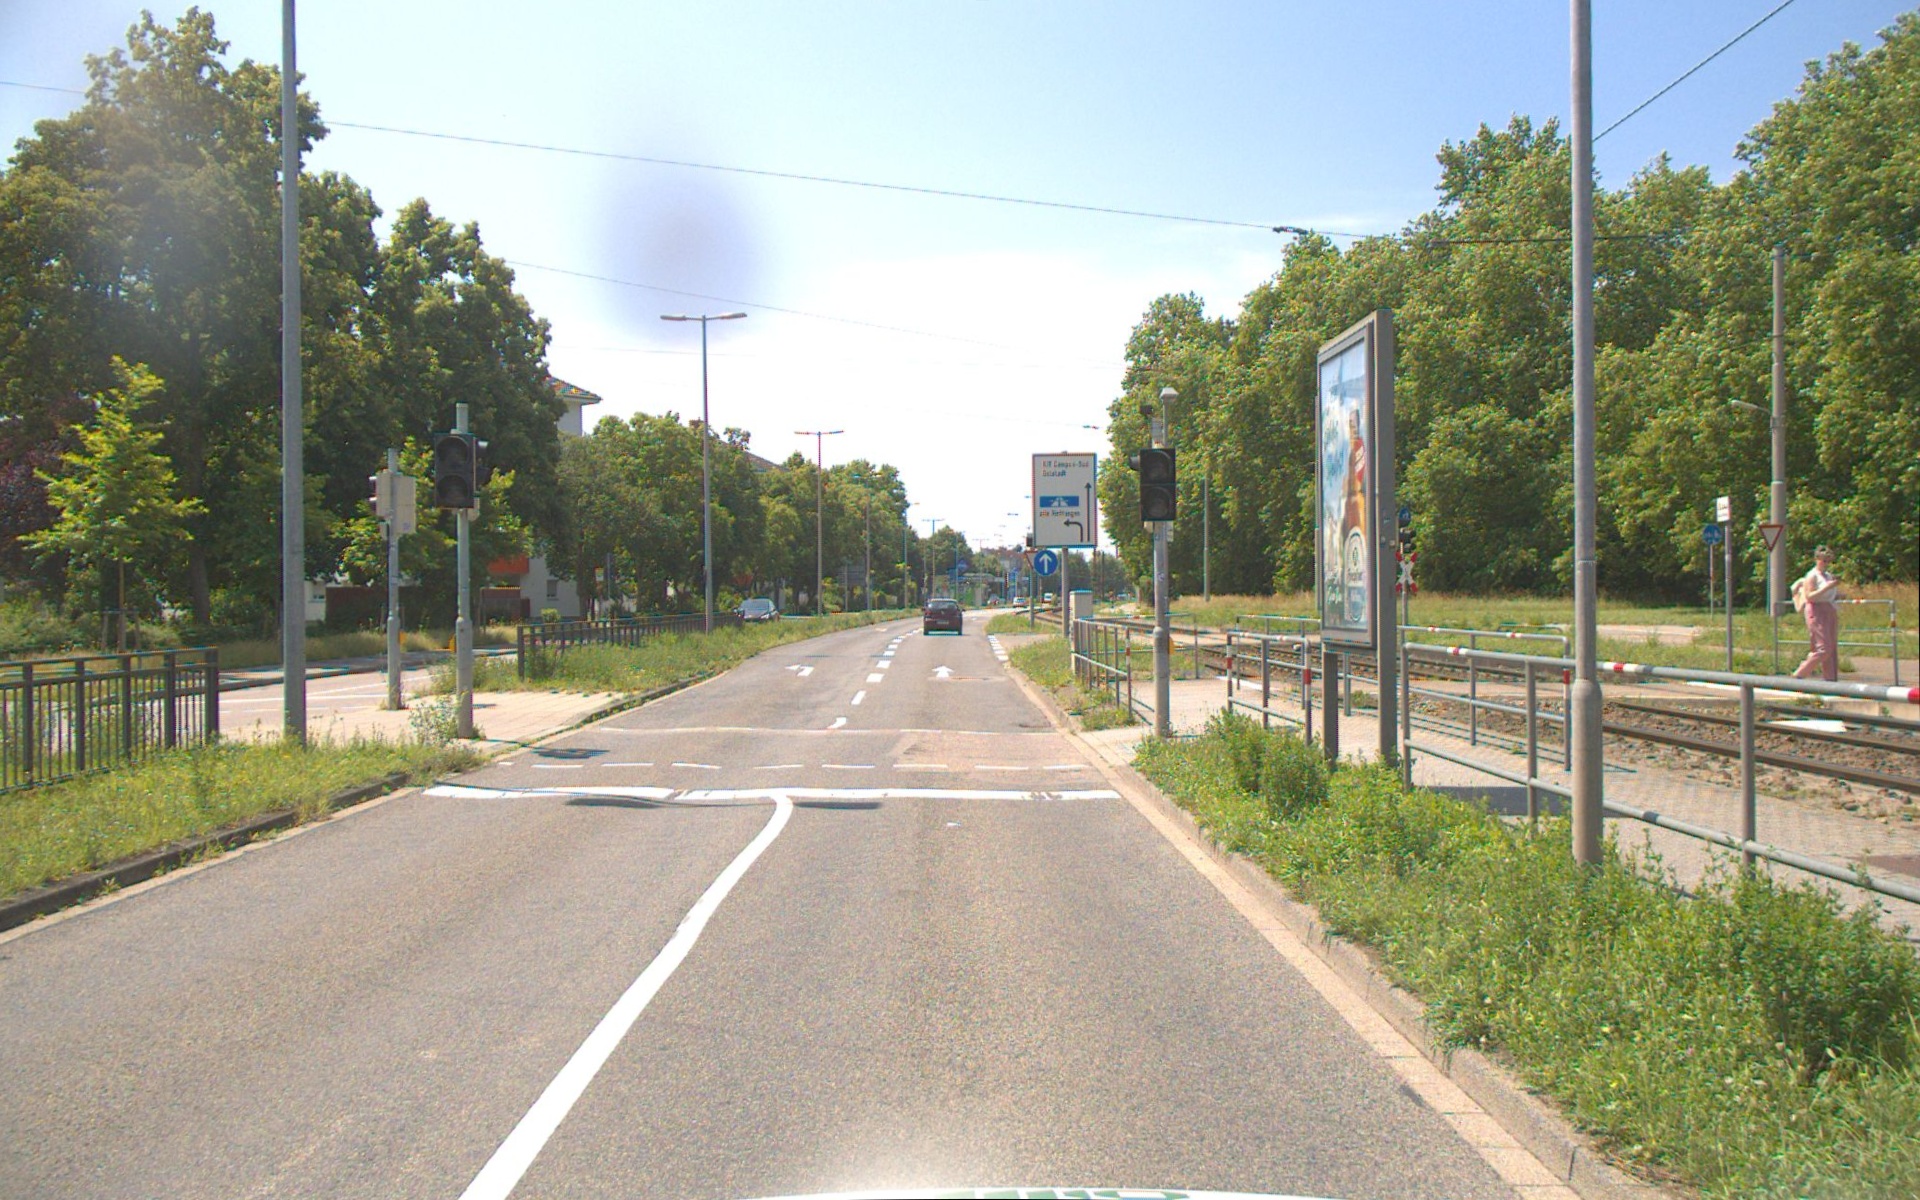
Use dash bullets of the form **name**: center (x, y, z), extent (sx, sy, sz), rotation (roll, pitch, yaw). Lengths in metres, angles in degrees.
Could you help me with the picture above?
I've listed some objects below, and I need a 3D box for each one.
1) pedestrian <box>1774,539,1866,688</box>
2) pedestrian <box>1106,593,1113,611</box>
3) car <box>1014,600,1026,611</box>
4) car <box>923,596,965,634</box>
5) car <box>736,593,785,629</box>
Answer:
- **pedestrian**: center (10.589, 0.167, 20.381), extent (0.624, 1.790, 0.814), rotation (1, -1, -14)
- **pedestrian**: center (15.468, 0.201, 170.876), extent (0.647, 1.756, 0.817), rotation (-1, 0, 6)
- **car**: center (8.661, 0.750, 239.270), extent (1.667, 1.506, 3.717), rotation (2, -1, 2)
- **car**: center (-0.633, 0.622, 68.352), extent (1.668, 1.503, 3.716), rotation (-1, 0, 0)
- **car**: center (-9.130, 0.501, 75.964), extent (1.720, 1.570, 4.161), rotation (-1, 0, 0)
